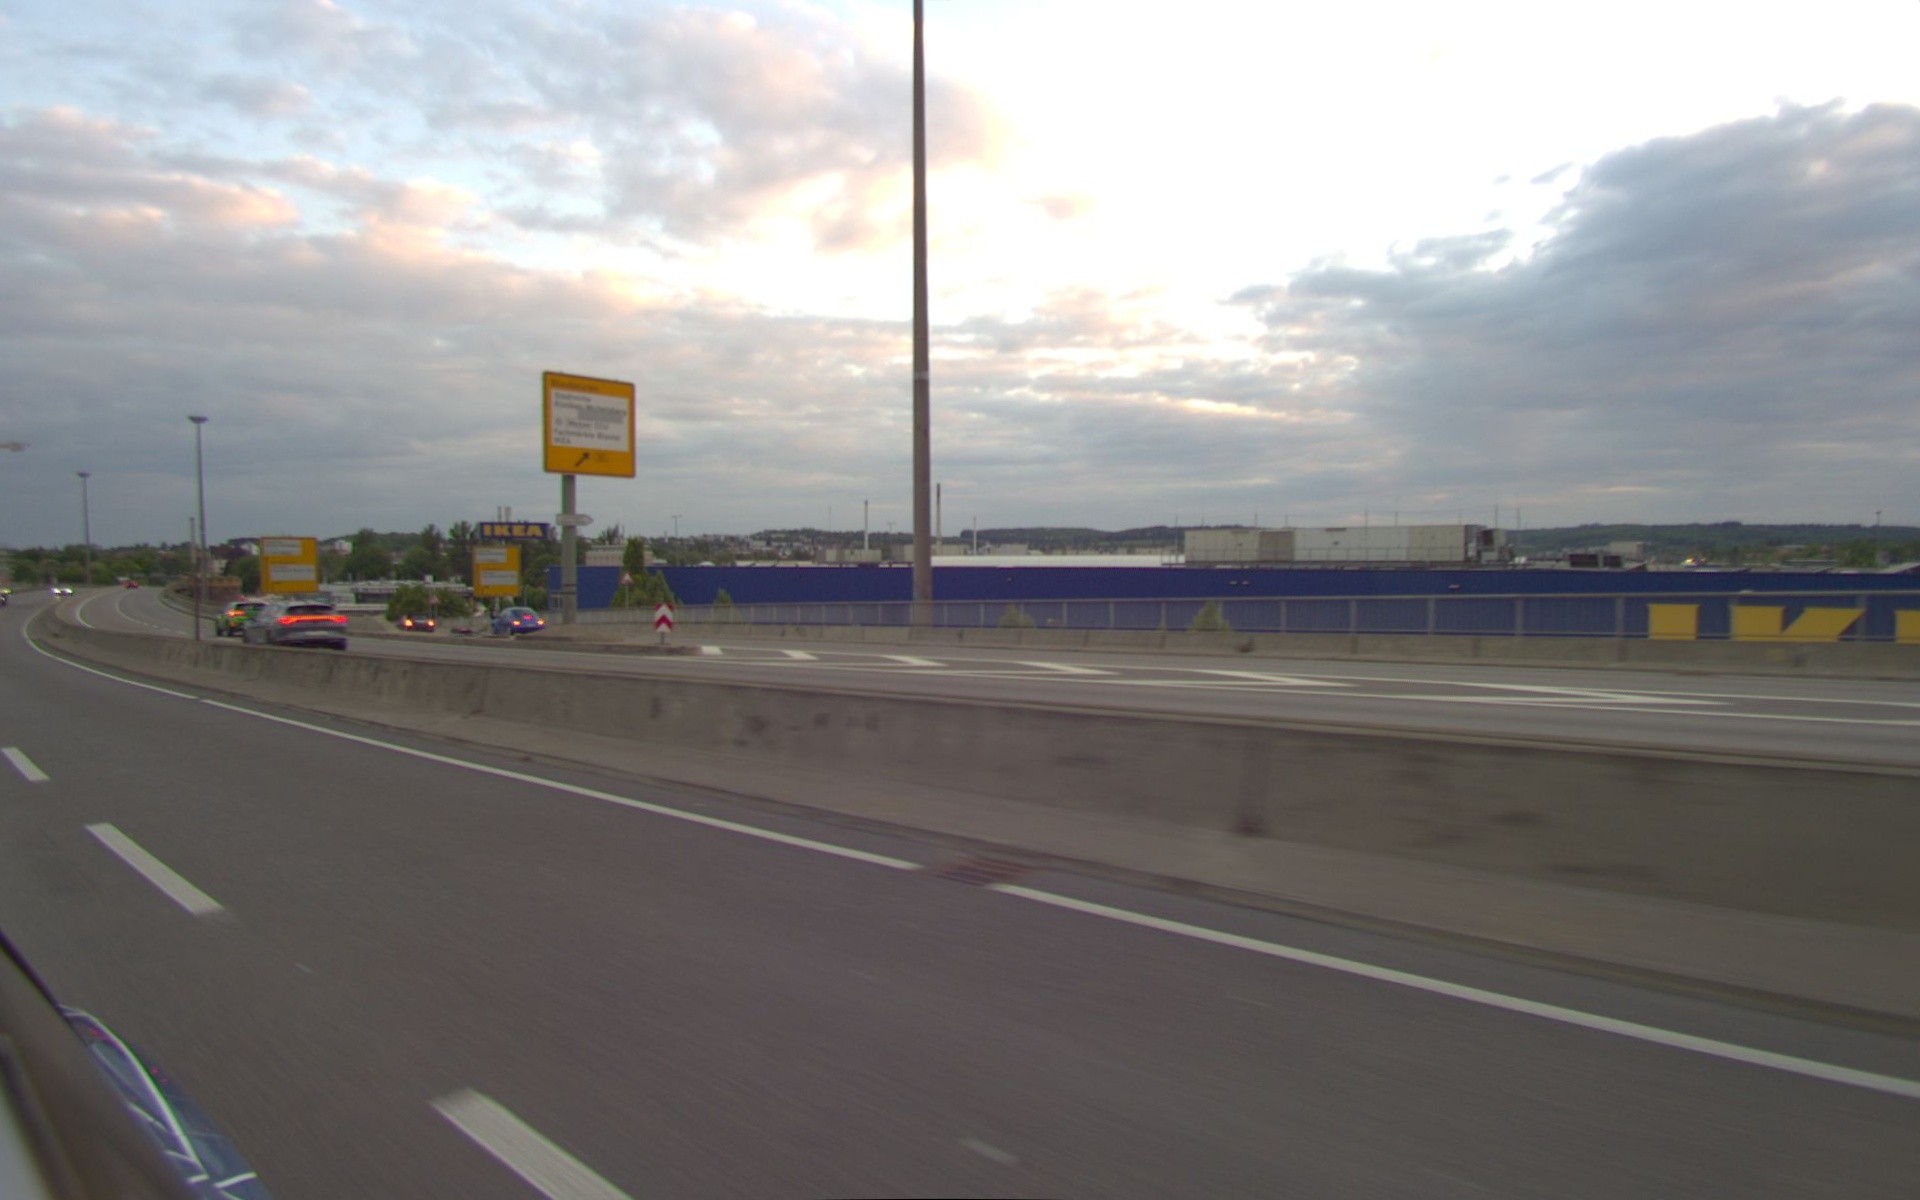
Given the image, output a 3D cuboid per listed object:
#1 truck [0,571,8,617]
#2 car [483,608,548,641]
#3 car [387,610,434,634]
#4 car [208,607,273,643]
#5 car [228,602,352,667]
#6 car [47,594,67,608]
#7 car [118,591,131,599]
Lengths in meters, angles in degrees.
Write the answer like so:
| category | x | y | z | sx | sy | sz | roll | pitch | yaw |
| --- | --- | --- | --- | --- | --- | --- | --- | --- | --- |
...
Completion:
| category | x | y | z | sx | sy | sz | roll | pitch | yaw |
| --- | --- | --- | --- | --- | --- | --- | --- | --- | --- |
| truck | -95.970 | -0.613 | 99.172 | 3.117 | 4.427 | 8.811 | -1 | 2 | -38 |
| car | -23.285 | 1.244 | 52.931 | 1.875 | 1.608 | 4.167 | -1 | 0 | -43 |
| car | -36.031 | 1.429 | 66.355 | 1.775 | 1.497 | 3.845 | -1 | 0 | -44 |
| car | -32.153 | 1.071 | 45.195 | 4.082 | 1.505 | 1.691 | 0 | 0 | 44 |
| car | -18.823 | 0.890 | 28.353 | 4.545 | 1.545 | 1.792 | 1 | 2 | 42 |
| car | -136.432 | 0.188 | 152.997 | 1.968 | 2.029 | 4.008 | -1 | 1 | -38 |
| car | -162.783 | -1.009 | 197.155 | 1.805 | 1.491 | 4.296 | -1 | 2 | -38 |
